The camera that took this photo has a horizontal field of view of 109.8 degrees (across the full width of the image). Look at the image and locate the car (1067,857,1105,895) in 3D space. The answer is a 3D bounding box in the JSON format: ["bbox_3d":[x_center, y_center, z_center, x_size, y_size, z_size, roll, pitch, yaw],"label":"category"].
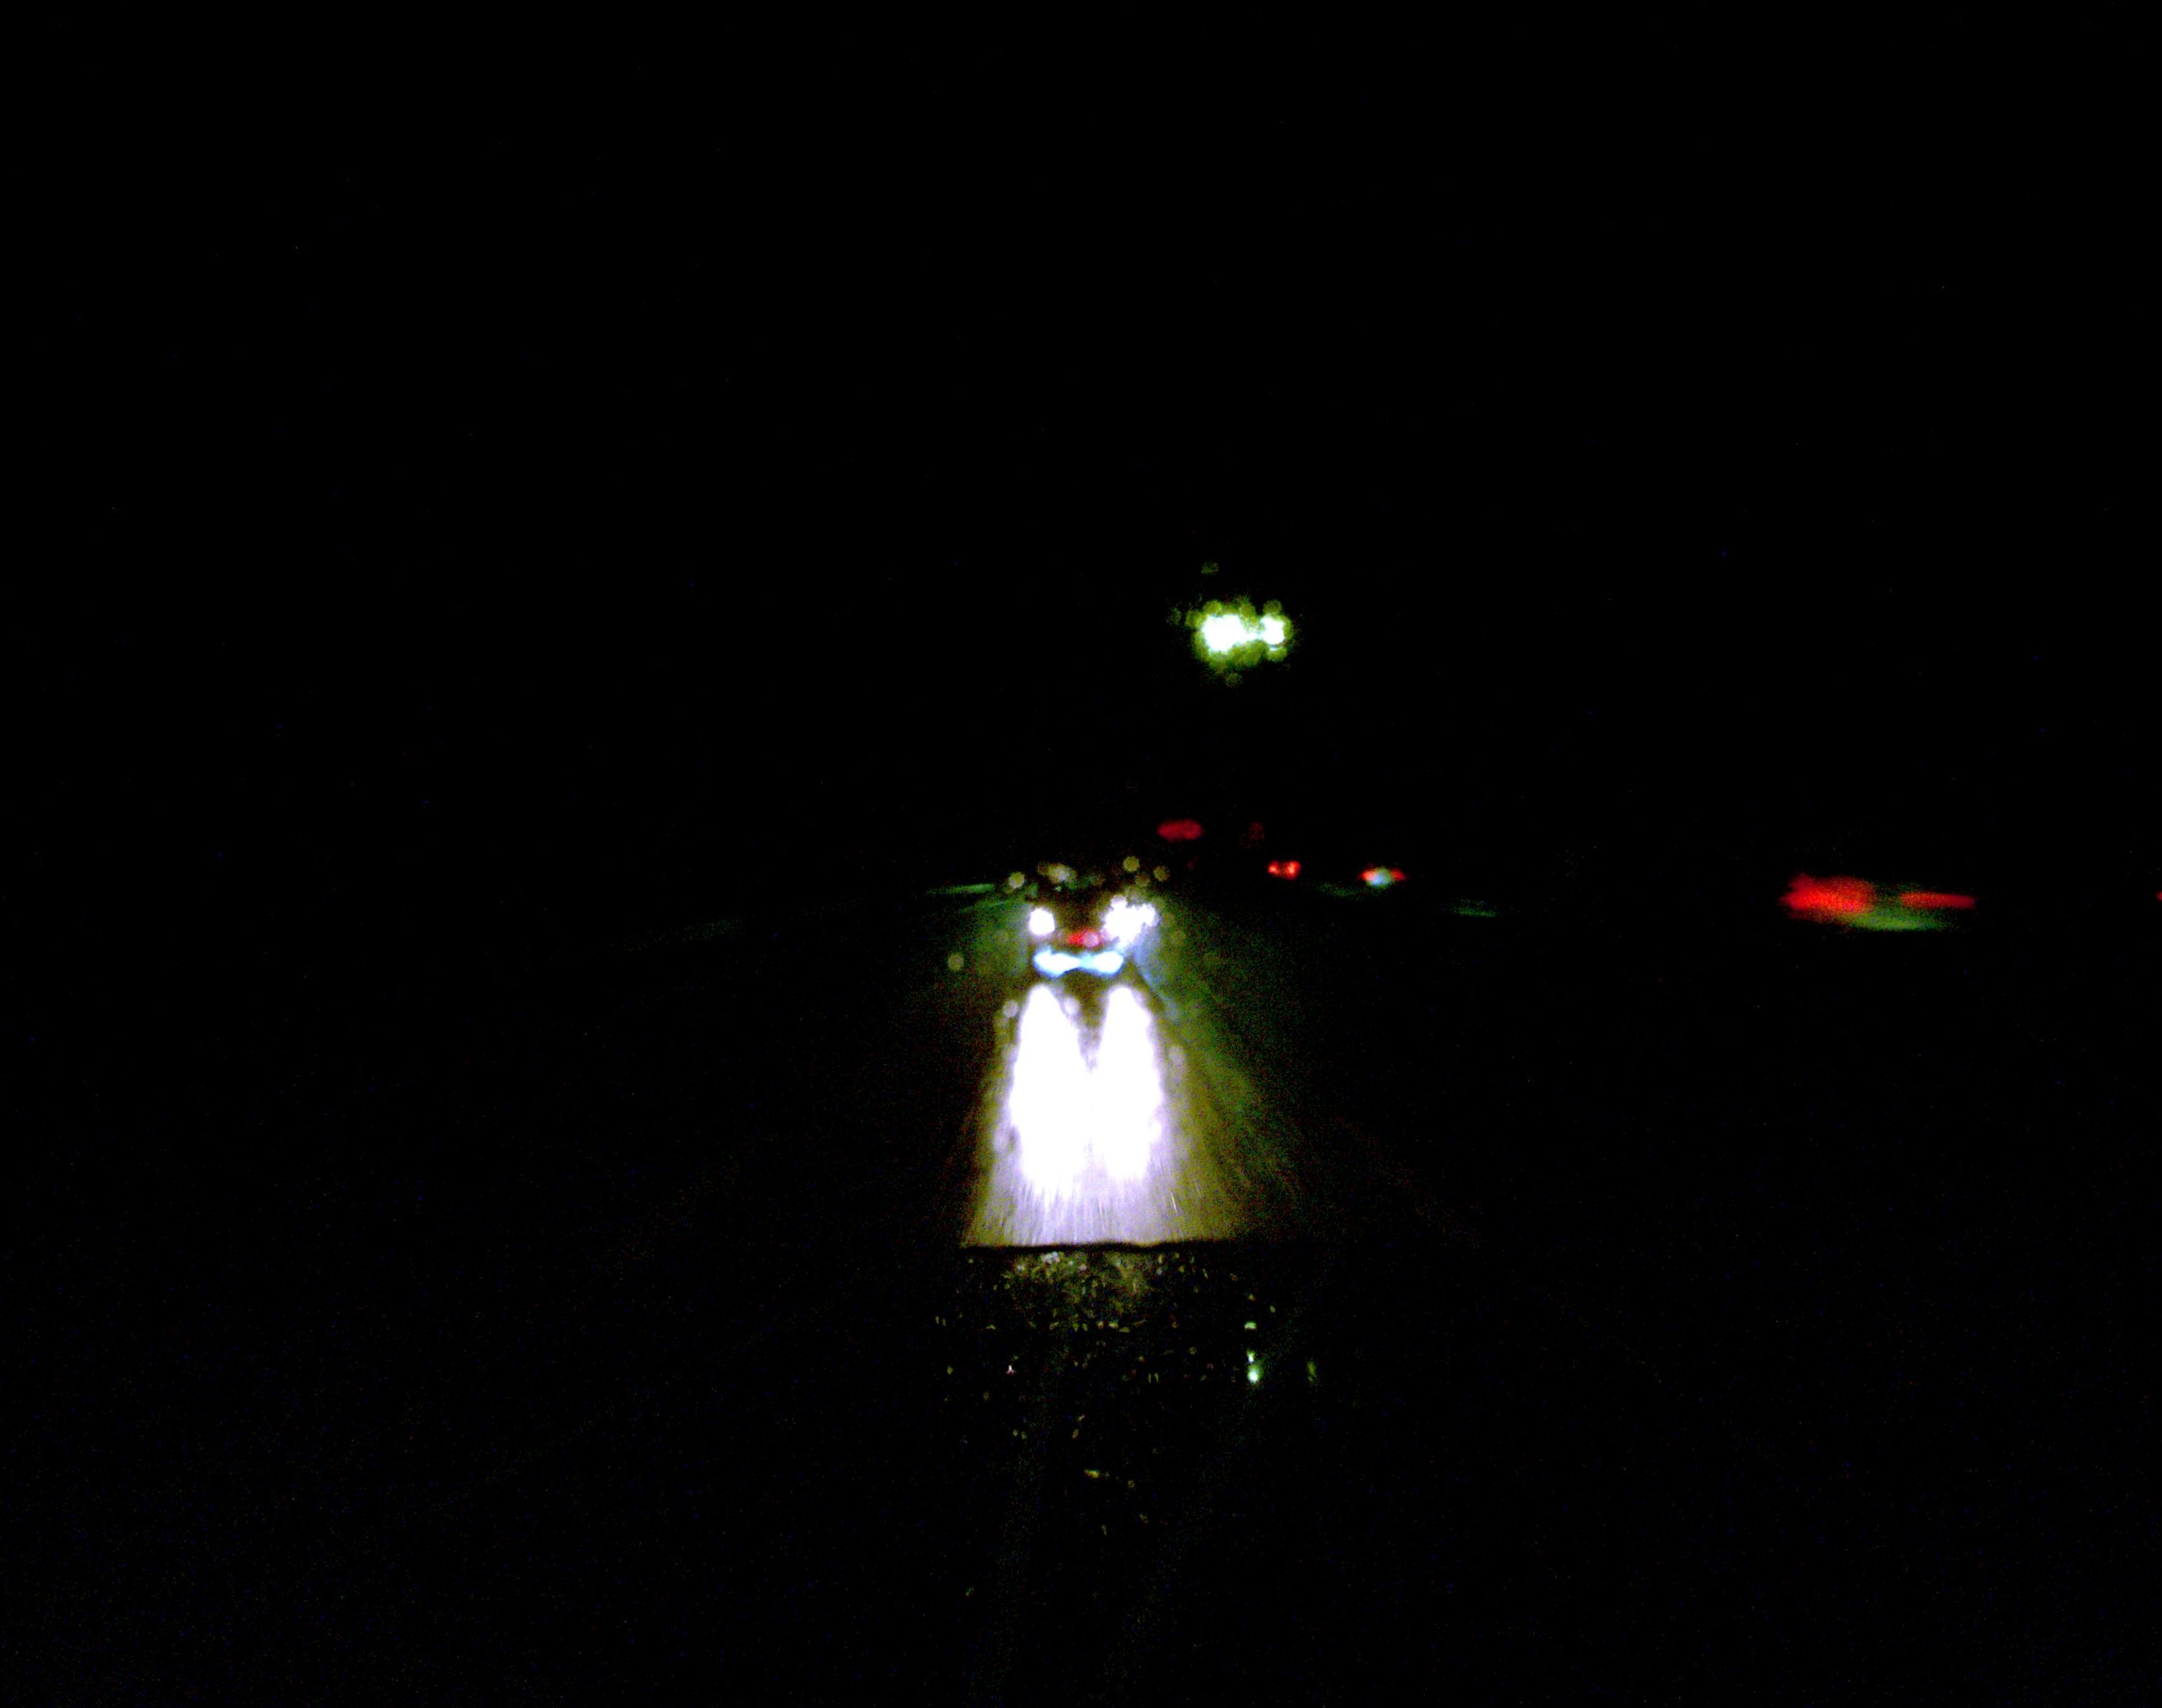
[{"bbox_3d":[0.228,1.097,39.577,1.784,1.696,3.999,-3,1,-1],"label":"car"}]

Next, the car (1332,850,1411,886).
[{"bbox_3d":[14.522,0.657,38.295,2.028,1.494,4.895,-3,1,0],"label":"car"}]

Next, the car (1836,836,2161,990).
[{"bbox_3d":[14.013,0.685,10.705,1.999,1.764,4.703,-3,1,-1],"label":"car"}]

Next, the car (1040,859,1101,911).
[{"bbox_3d":[-0.335,0.994,26.047,1.849,1.441,3.874,-3,1,0],"label":"car"}]

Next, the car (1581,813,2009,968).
[{"bbox_3d":[10.201,0.402,11.550,1.999,1.764,4.703,-3,1,-1],"label":"car"}]

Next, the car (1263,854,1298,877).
[{"bbox_3d":[15.155,0.869,57.954,1.604,1.543,3.833,-3,1,1],"label":"car"}]

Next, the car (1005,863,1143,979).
[{"bbox_3d":[0.048,0.958,12.511,1.848,1.440,4.001,-3,0,4],"label":"car"}]
